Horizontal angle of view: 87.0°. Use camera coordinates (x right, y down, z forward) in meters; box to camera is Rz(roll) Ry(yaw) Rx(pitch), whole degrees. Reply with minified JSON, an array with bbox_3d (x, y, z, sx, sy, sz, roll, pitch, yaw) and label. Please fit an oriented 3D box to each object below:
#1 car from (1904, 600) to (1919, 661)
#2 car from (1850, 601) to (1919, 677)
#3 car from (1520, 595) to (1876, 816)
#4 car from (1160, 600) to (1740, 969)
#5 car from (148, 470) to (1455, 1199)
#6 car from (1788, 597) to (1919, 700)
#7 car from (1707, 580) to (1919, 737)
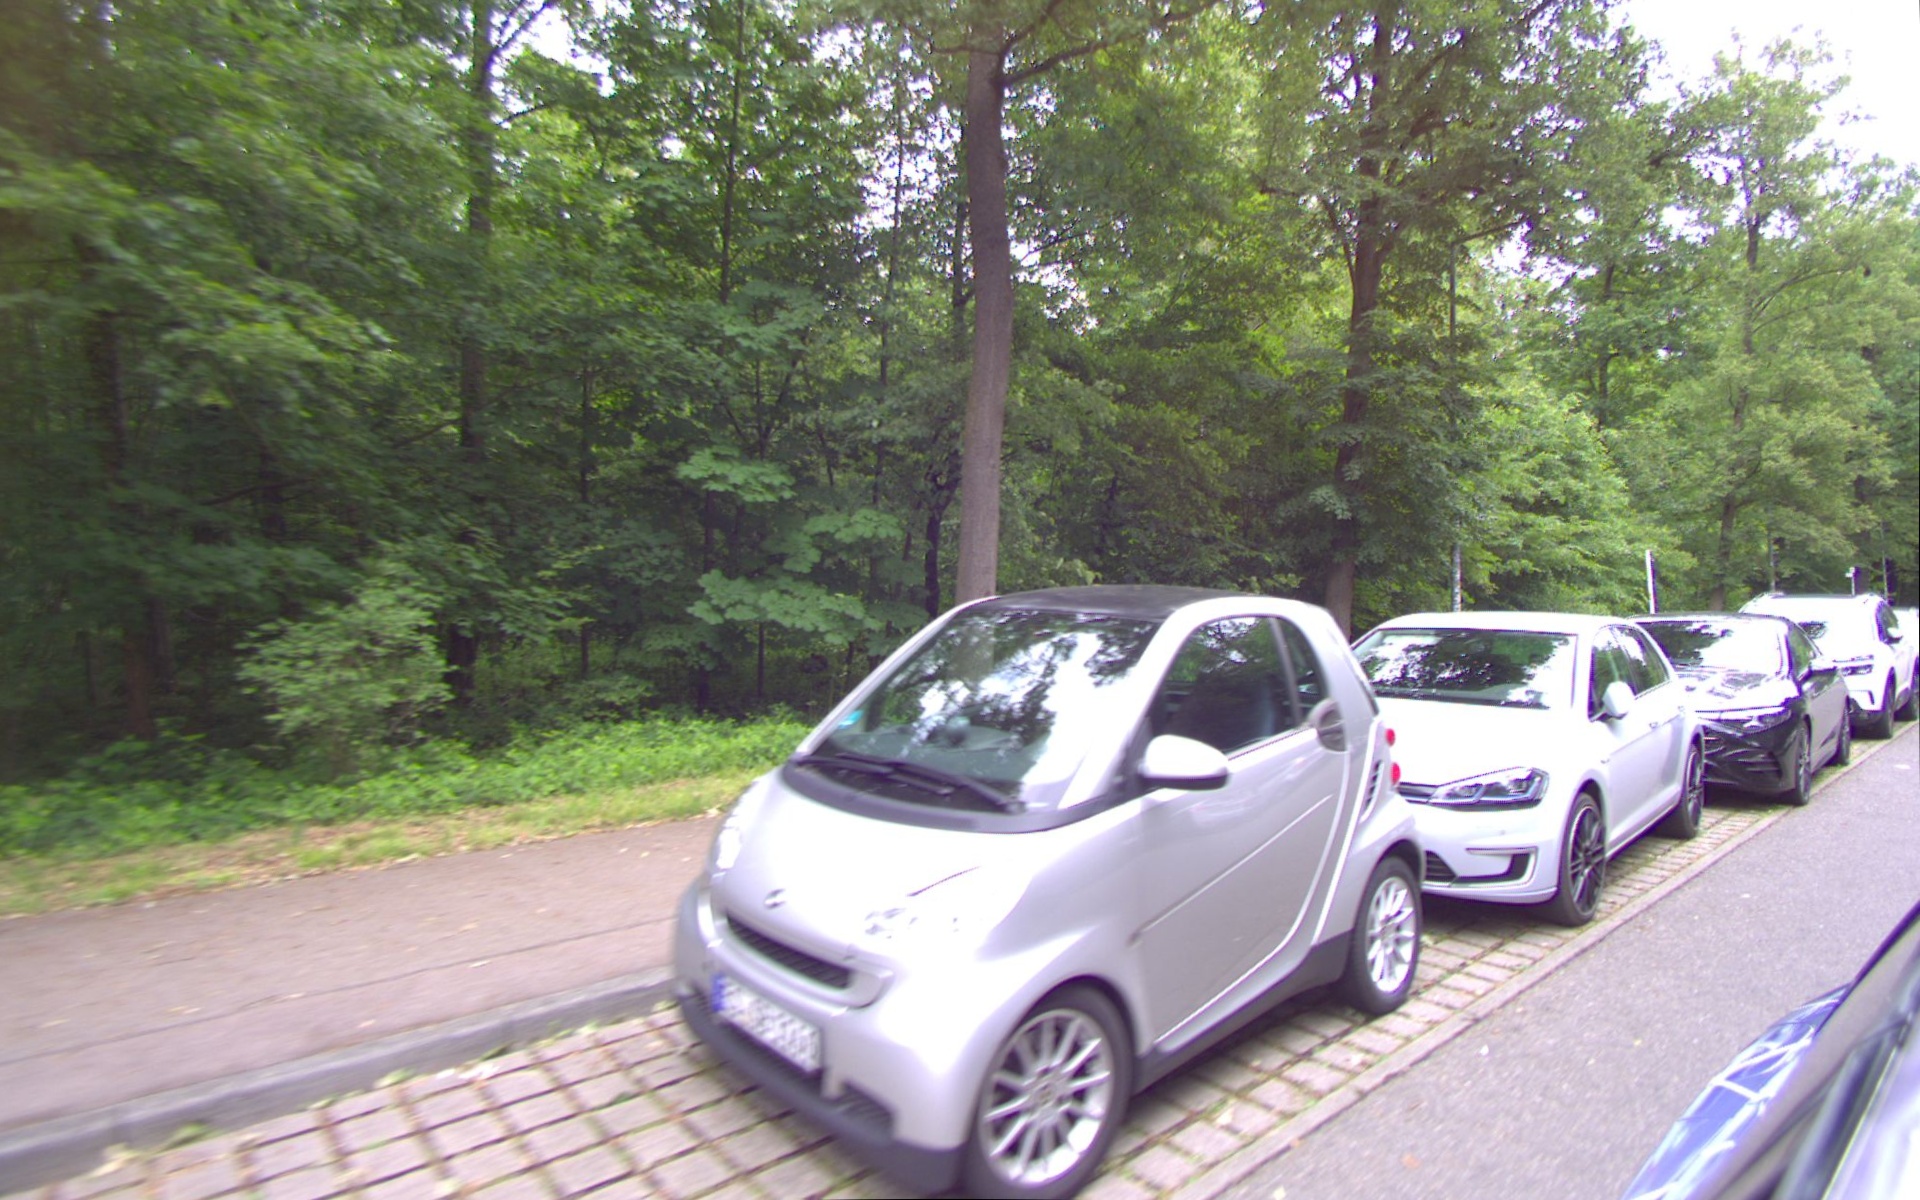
[{"bbox_3d":[24.939,0.721,25.209,4.664,1.453,1.738,0,-1,-43],"label":"car"},{"bbox_3d":[19.570,0.738,20.589,4.352,1.425,1.738,0,-1,-43],"label":"car"},{"bbox_3d":[6.763,0.719,9.058,4.527,1.493,1.738,0,-1,-43],"label":"car"},{"bbox_3d":[3.116,0.725,6.004,4.084,1.443,1.738,0,-1,-43],"label":"car"},{"bbox_3d":[-0.069,0.627,3.313,3.940,1.588,1.738,0,-1,-43],"label":"car"},{"bbox_3d":[15.382,0.708,16.820,4.686,1.498,1.739,0,-1,-41],"label":"car"},{"bbox_3d":[11.266,0.622,13.035,4.986,1.664,1.738,0,-1,-43],"label":"car"}]
